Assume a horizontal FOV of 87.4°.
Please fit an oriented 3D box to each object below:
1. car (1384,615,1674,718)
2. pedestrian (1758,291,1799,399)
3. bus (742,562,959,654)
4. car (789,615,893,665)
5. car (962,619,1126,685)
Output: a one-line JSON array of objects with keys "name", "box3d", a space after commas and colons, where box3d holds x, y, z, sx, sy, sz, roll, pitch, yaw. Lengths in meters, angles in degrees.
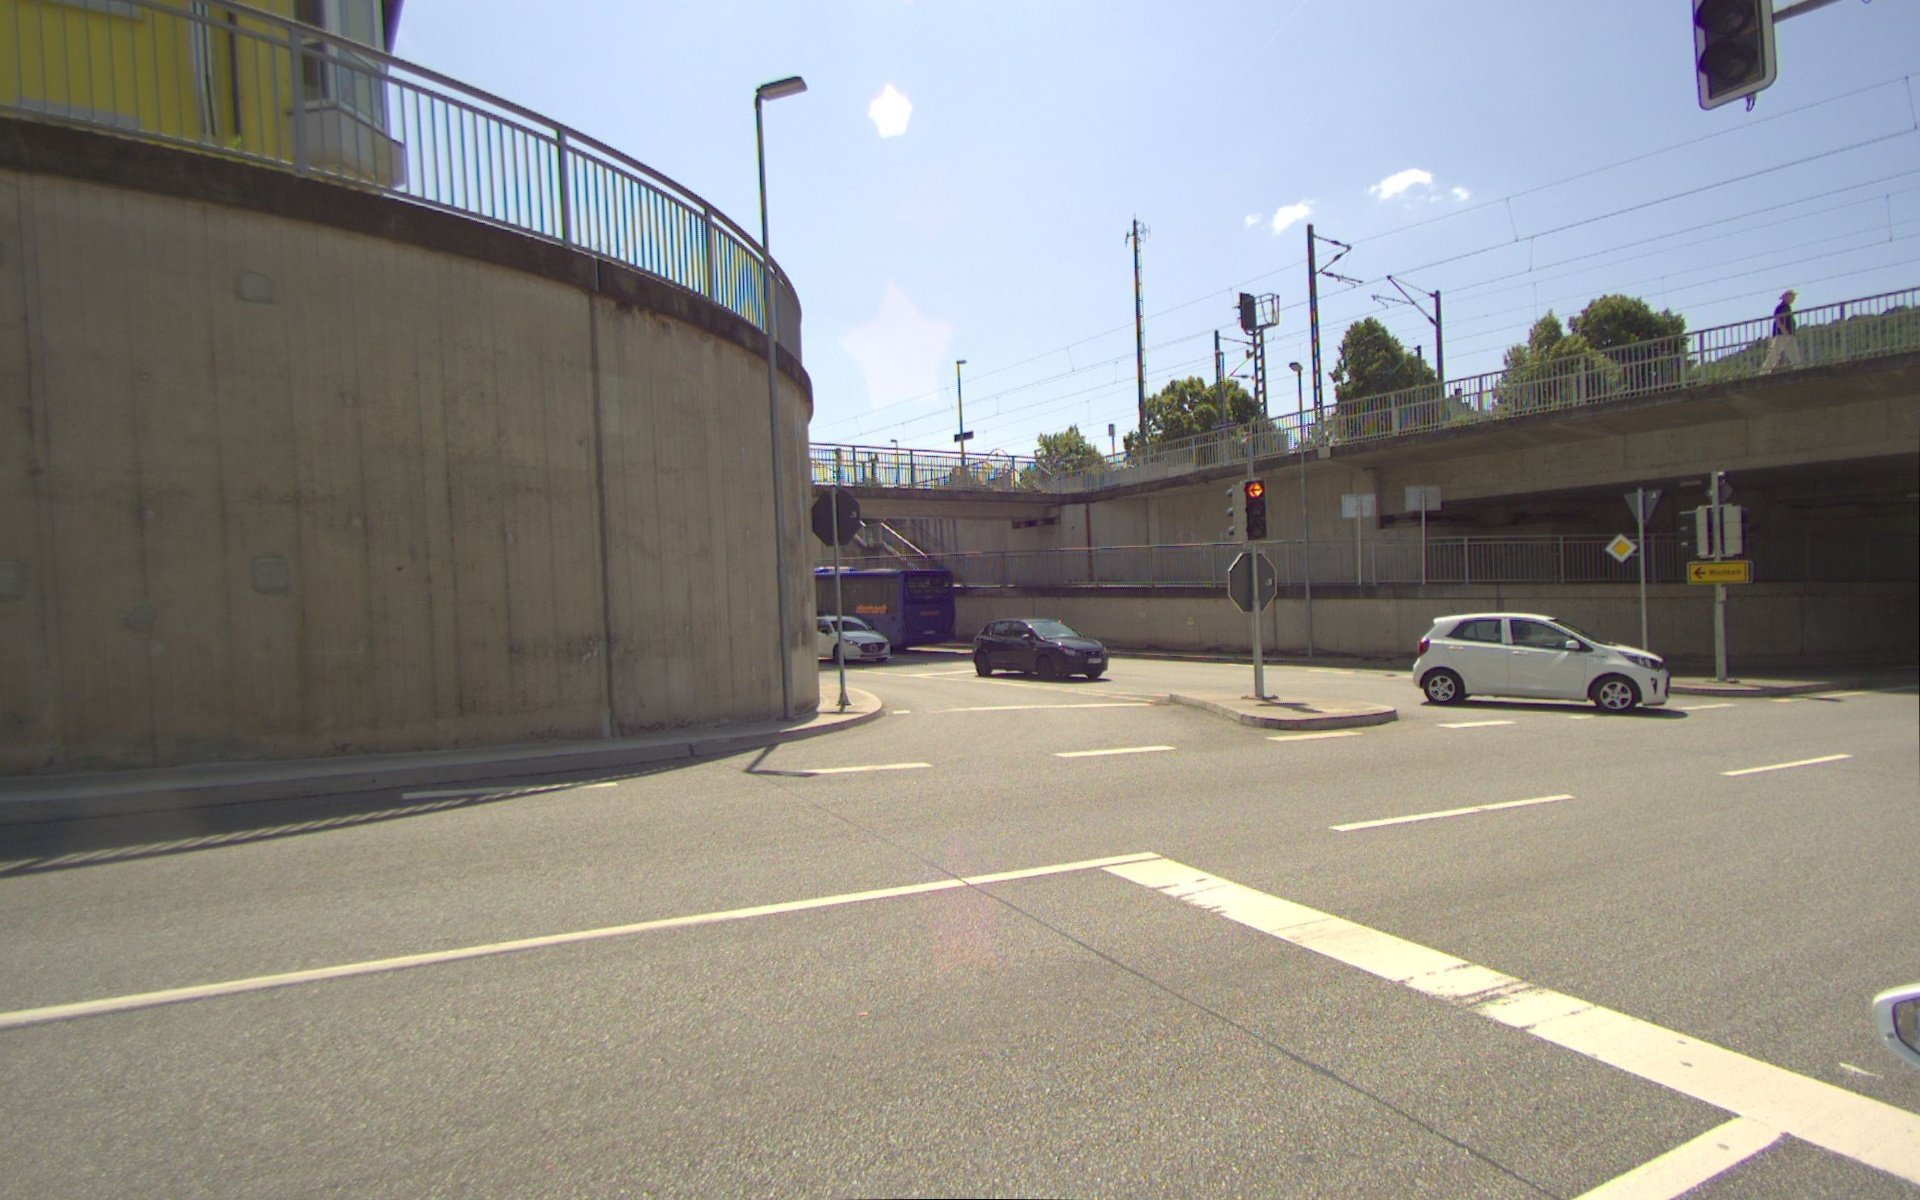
[{"name": "car", "box3d": [9.213, 0.995, 16.395, 3.937, 1.439, 1.724, -1, 1, 37]}, {"name": "pedestrian", "box3d": [17.565, -5.458, 21.555, 0.531, 2.108, 0.571, 1, -1, -40]}, {"name": "bus", "box3d": [-4.847, 0.300, 40.636, 2.567, 3.215, 12.239, -2, 1, -38]}, {"name": "car", "box3d": [-3.919, 1.263, 32.647, 1.711, 1.451, 3.871, -2, 1, -36]}, {"name": "car", "box3d": [1.950, 1.198, 24.386, 1.751, 1.393, 3.956, -2, 1, -38]}]
